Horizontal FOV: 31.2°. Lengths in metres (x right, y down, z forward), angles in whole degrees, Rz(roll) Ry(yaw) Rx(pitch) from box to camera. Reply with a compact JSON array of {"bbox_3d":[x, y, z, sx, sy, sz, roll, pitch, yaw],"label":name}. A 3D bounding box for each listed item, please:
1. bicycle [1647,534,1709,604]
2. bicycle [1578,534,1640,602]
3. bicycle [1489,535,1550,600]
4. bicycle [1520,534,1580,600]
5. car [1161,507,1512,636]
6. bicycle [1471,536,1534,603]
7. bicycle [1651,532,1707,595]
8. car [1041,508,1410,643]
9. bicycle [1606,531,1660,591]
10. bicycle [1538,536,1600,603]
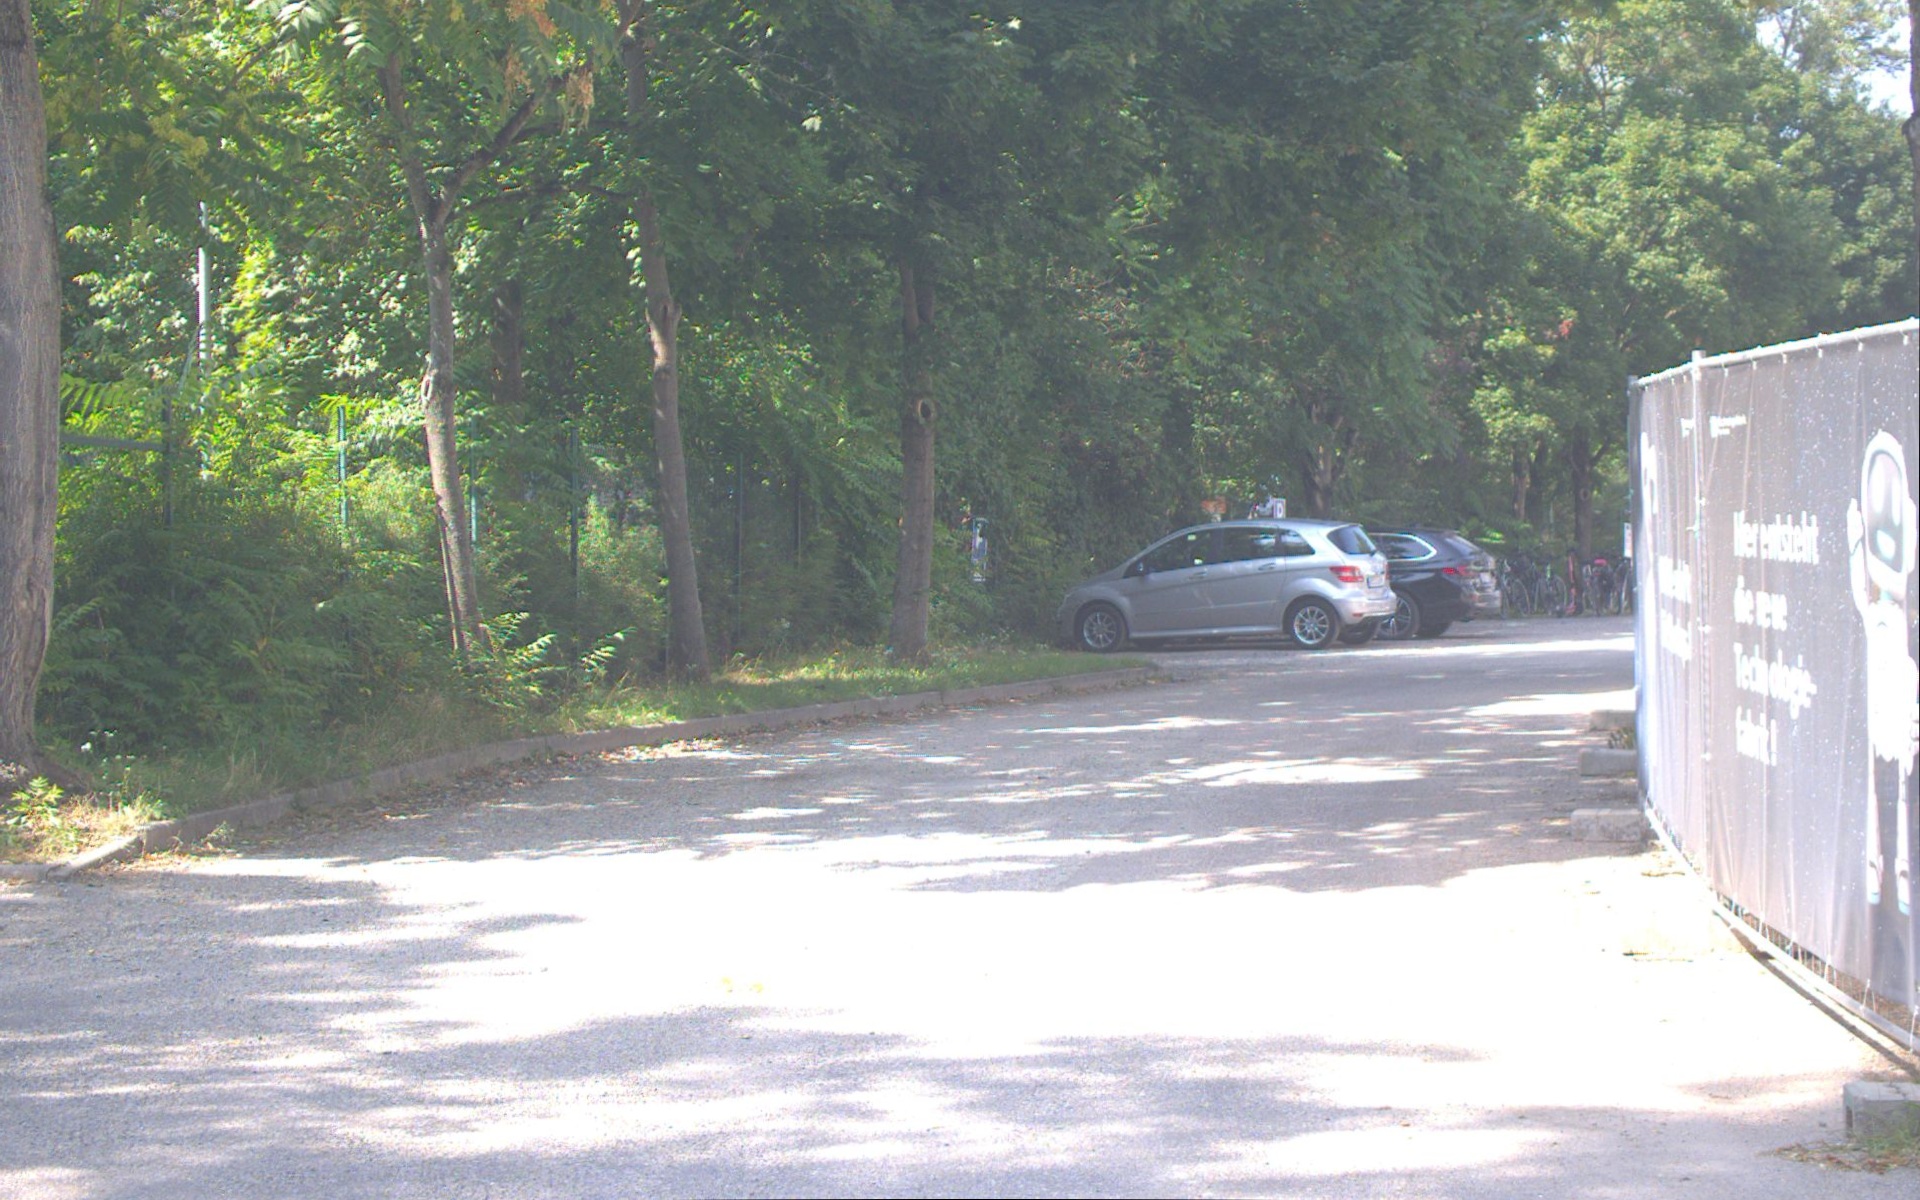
[{"bbox_3d":[11.728,-0.518,56.125,0.499,1.104,1.797,0,2,28],"label":"bicycle"},{"bbox_3d":[10.787,-0.537,57.132,0.499,1.104,1.797,0,2,28],"label":"bicycle"},{"bbox_3d":[9.768,-0.570,60.006,0.499,1.104,1.797,0,2,28],"label":"bicycle"},{"bbox_3d":[10.270,-0.581,59.801,0.499,1.104,1.797,0,2,28],"label":"bicycle"},{"bbox_3d":[4.929,-0.394,45.007,4.153,1.607,1.998,0,2,24],"label":"car"},{"bbox_3d":[9.152,-0.525,57.966,0.499,1.104,1.797,0,2,28],"label":"bicycle"},{"bbox_3d":[13.033,-0.667,62.284,0.499,1.104,1.797,0,2,28],"label":"bicycle"},{"bbox_3d":[3.318,-0.327,42.861,4.153,1.607,1.998,0,2,24],"label":"car"},{"bbox_3d":[12.700,-0.734,64.888,0.499,1.104,1.797,0,2,28],"label":"bicycle"},{"bbox_3d":[10.244,-0.520,57.762,0.499,1.104,1.797,0,2,28],"label":"bicycle"}]
